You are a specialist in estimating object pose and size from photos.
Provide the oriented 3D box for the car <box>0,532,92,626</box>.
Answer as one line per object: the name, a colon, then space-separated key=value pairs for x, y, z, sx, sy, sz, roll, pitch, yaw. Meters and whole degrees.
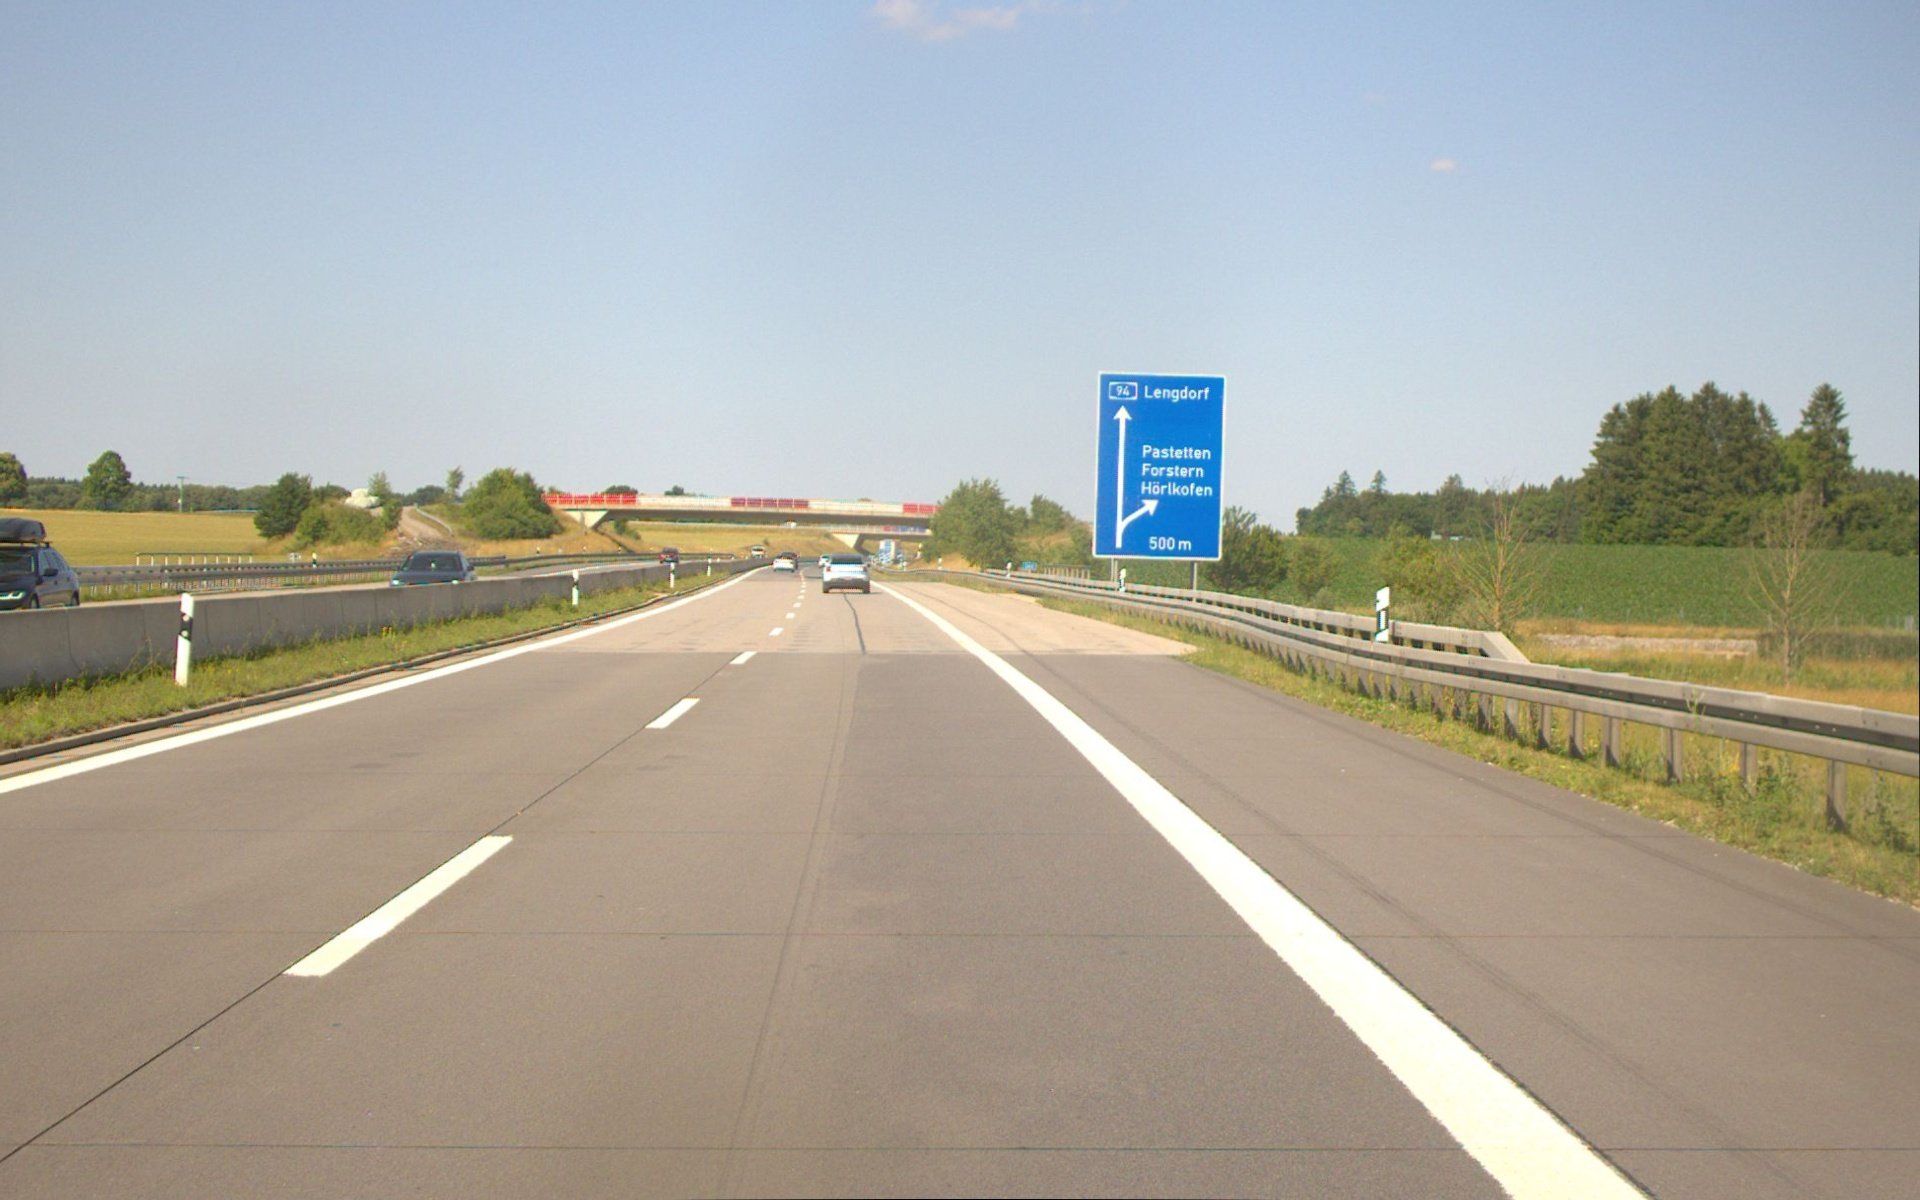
car: x=-16.052 y=-0.383 z=57.656 sx=1.898 sy=1.518 sz=4.806 roll=0 pitch=1 yaw=-2

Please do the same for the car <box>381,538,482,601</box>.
car: x=-13.028 y=-0.779 z=84.950 sx=1.898 sy=1.518 sz=4.806 roll=0 pitch=1 yaw=-2

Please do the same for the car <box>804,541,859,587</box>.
car: x=-5.076 y=-1.443 z=135.815 sx=1.993 sy=1.725 sz=4.870 roll=1 pitch=1 yaw=-4
